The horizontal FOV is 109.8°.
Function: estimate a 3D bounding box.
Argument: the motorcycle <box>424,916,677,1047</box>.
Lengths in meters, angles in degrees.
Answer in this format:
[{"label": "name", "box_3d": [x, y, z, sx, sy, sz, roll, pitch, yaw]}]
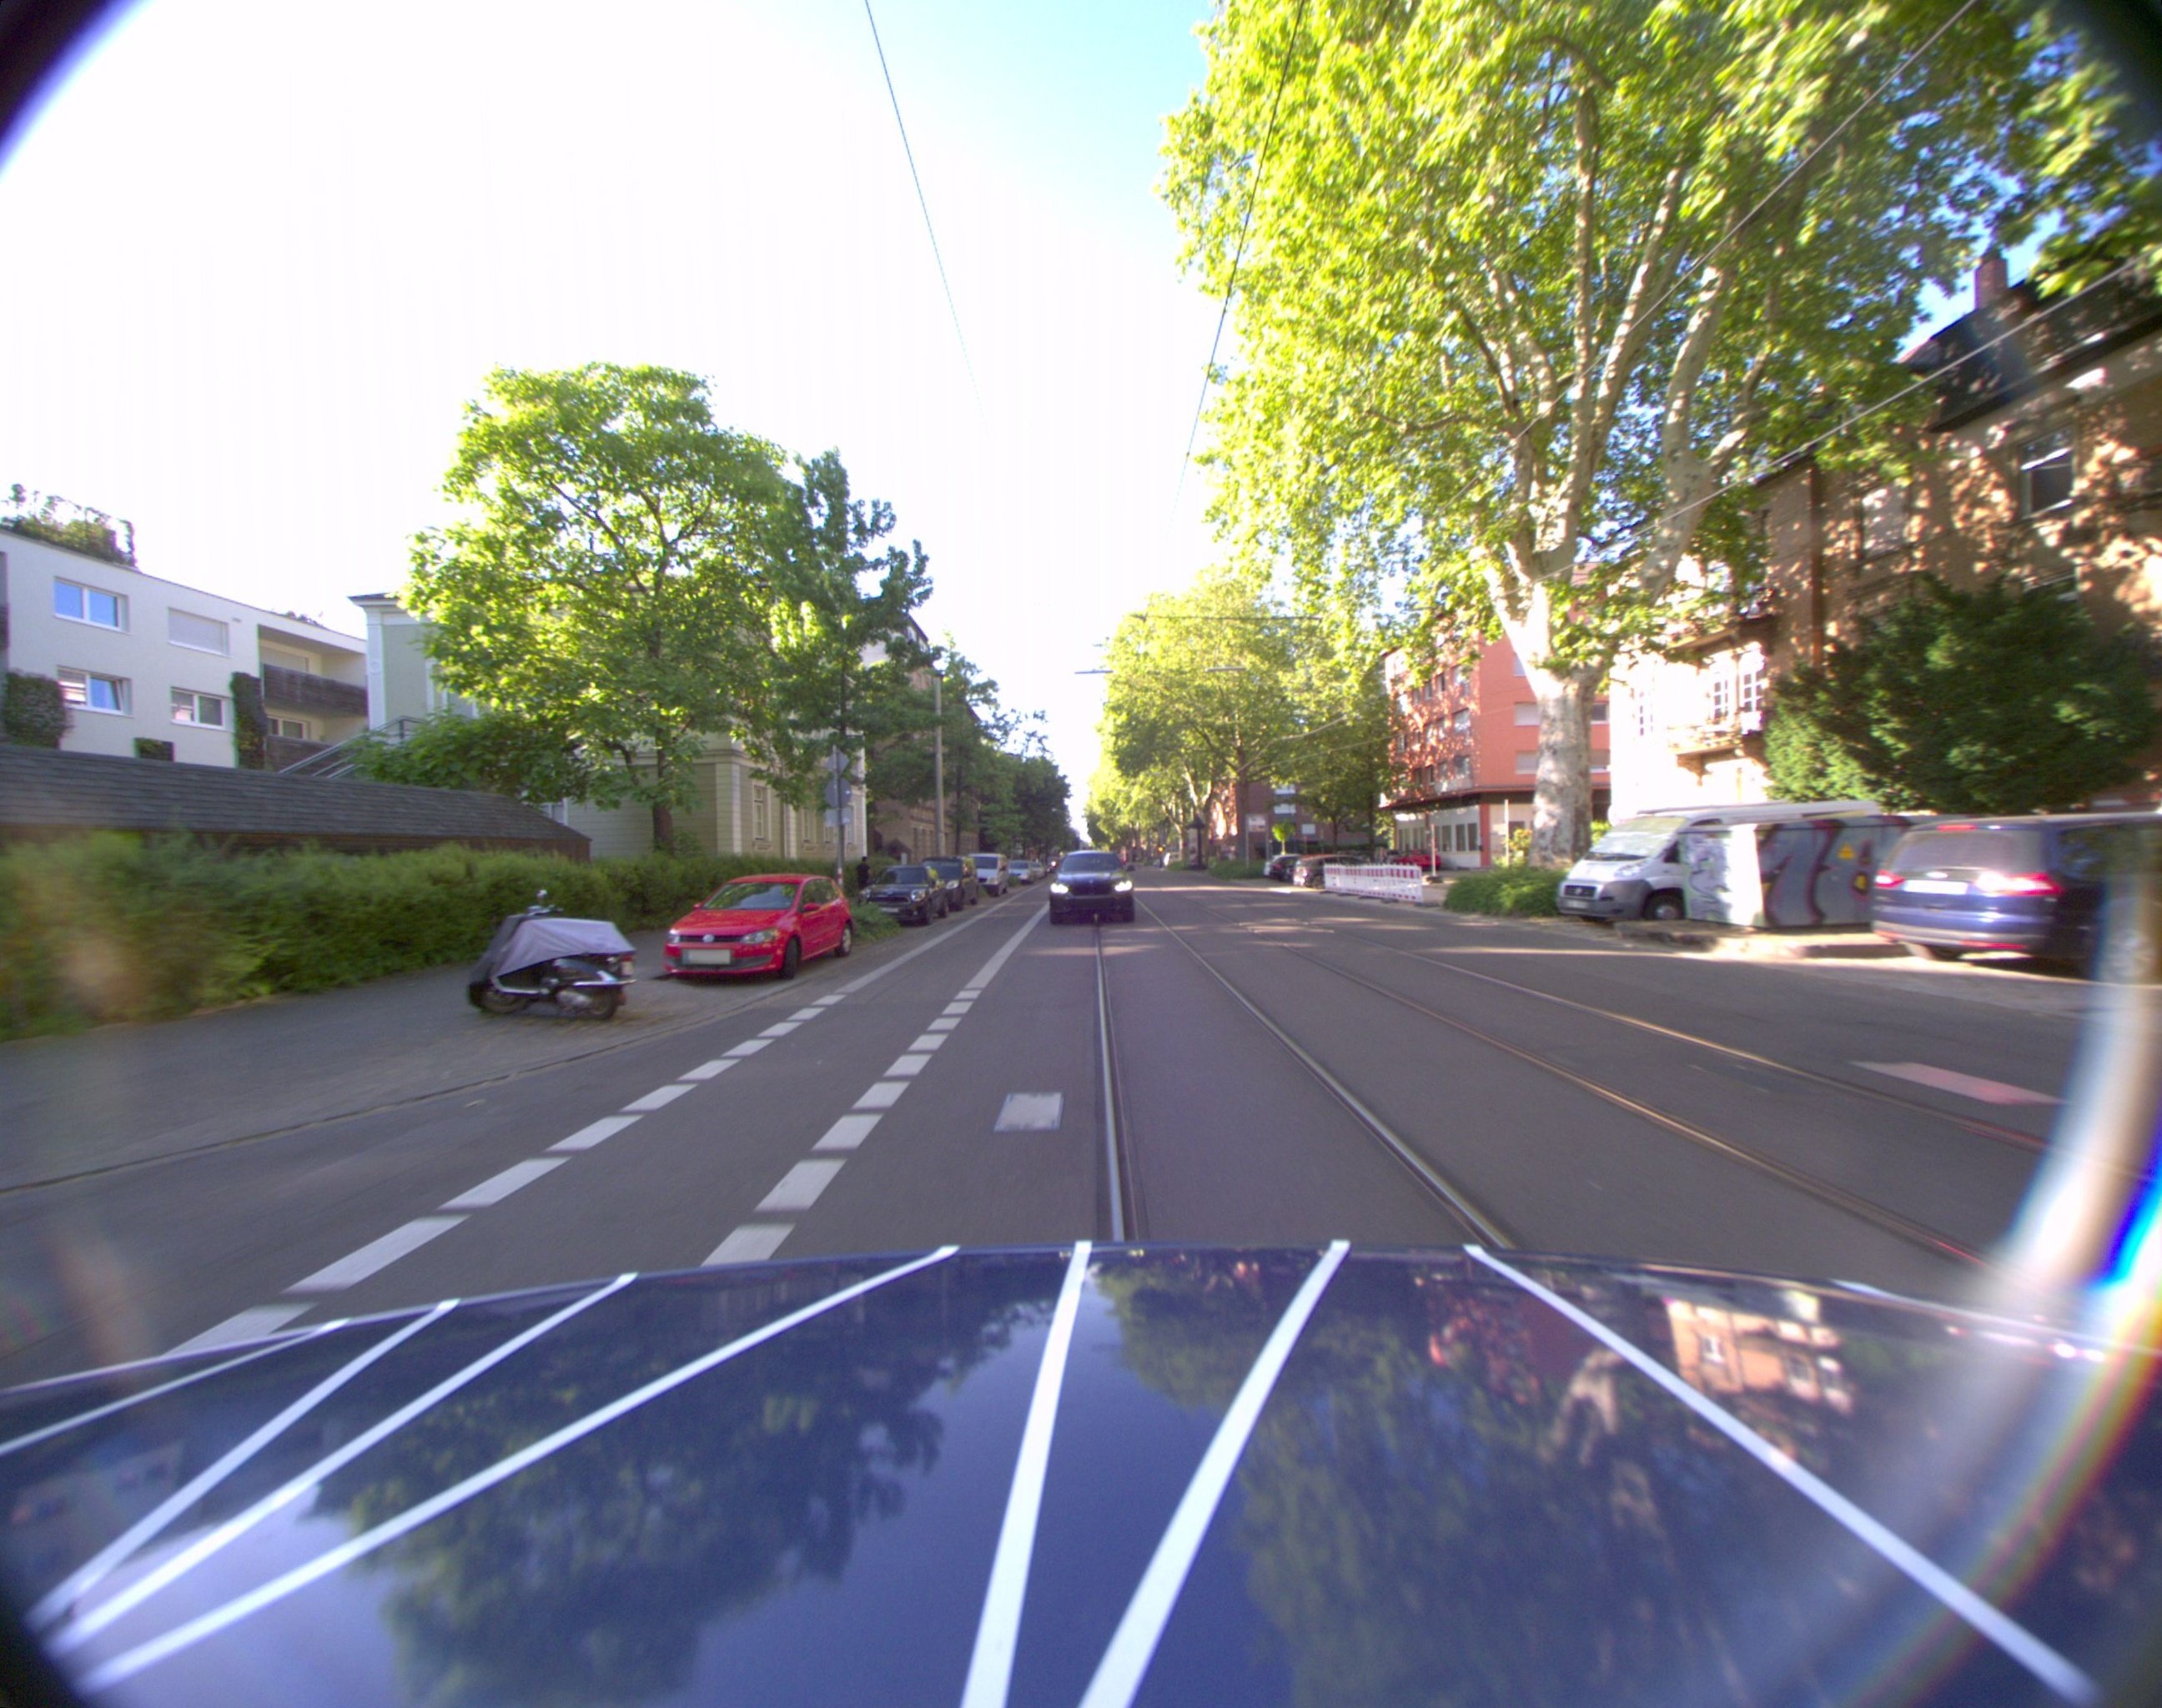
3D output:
[{"label": "motorcycle", "box_3d": [-5.411, 1.273, 7.829, 2.071, 1.152, 0.828, 1, 1, 5]}]

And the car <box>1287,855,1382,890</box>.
[{"label": "car", "box_3d": [12.283, 0.905, 36.989, 3.966, 1.506, 1.811, -2, -1, -1]}]

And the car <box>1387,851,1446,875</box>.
[{"label": "car", "box_3d": [21.523, 0.545, 48.948, 1.671, 1.438, 4.610, 1, 0, -1]}]

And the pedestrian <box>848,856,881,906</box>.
[{"label": "pedestrian", "box_3d": [-7.555, 0.923, 26.553, 0.813, 1.668, 0.885, -2, 0, 1]}]

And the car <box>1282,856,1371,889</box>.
[{"label": "car", "box_3d": [12.581, 0.923, 39.058, 3.966, 1.506, 1.811, -2, -1, -1]}]

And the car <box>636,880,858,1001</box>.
[{"label": "car", "box_3d": [-4.764, 1.155, 11.467, 1.607, 1.372, 3.864, 1, 0, 1]}]

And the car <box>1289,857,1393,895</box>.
[{"label": "car", "box_3d": [11.511, 0.950, 33.806, 3.966, 1.506, 1.811, -2, -1, -1]}]

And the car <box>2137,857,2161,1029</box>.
[{"label": "car", "box_3d": [11.546, 0.702, 5.843, 4.170, 1.506, 1.925, -2, -1, -1]}]

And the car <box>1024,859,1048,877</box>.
[{"label": "car", "box_3d": [-3.829, 1.197, 65.222, 1.781, 1.489, 4.372, 1, 0, 1]}]

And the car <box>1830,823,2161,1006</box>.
[{"label": "car", "box_3d": [11.619, 0.551, 8.496, 4.464, 1.755, 2.028, -2, -1, -1]}]

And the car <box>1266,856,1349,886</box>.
[{"label": "car", "box_3d": [12.364, 0.925, 41.700, 3.966, 1.506, 1.811, -2, -1, -1]}]

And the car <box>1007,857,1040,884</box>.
[{"label": "car", "box_3d": [-3.823, 1.041, 50.786, 1.815, 1.701, 4.372, 1, 0, 1]}]

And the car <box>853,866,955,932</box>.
[{"label": "car", "box_3d": [-4.549, 1.110, 20.150, 1.694, 1.478, 4.143, 1, 0, 1]}]

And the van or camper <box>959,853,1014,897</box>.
[{"label": "van or camper", "box_3d": [-4.286, 0.885, 35.136, 1.882, 1.873, 4.923, 1, 0, 1]}]

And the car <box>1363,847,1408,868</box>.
[{"label": "car", "box_3d": [21.470, 0.253, 53.641, 1.671, 1.438, 3.651, 1, 0, -1]}]

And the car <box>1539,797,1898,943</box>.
[{"label": "car", "box_3d": [11.781, 0.295, 14.317, 5.019, 2.383, 2.028, -2, 0, -1]}]

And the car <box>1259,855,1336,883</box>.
[{"label": "car", "box_3d": [12.656, 0.883, 44.592, 3.966, 1.506, 1.811, -2, -1, -1]}]

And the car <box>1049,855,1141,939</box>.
[{"label": "car", "box_3d": [0.327, 0.912, 18.359, 1.924, 1.741, 4.806, 1, 0, 1]}]

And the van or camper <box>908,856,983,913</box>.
[{"label": "van or camper", "box_3d": [-4.534, 0.954, 26.059, 1.694, 1.772, 4.443, 1, 0, 1]}]
